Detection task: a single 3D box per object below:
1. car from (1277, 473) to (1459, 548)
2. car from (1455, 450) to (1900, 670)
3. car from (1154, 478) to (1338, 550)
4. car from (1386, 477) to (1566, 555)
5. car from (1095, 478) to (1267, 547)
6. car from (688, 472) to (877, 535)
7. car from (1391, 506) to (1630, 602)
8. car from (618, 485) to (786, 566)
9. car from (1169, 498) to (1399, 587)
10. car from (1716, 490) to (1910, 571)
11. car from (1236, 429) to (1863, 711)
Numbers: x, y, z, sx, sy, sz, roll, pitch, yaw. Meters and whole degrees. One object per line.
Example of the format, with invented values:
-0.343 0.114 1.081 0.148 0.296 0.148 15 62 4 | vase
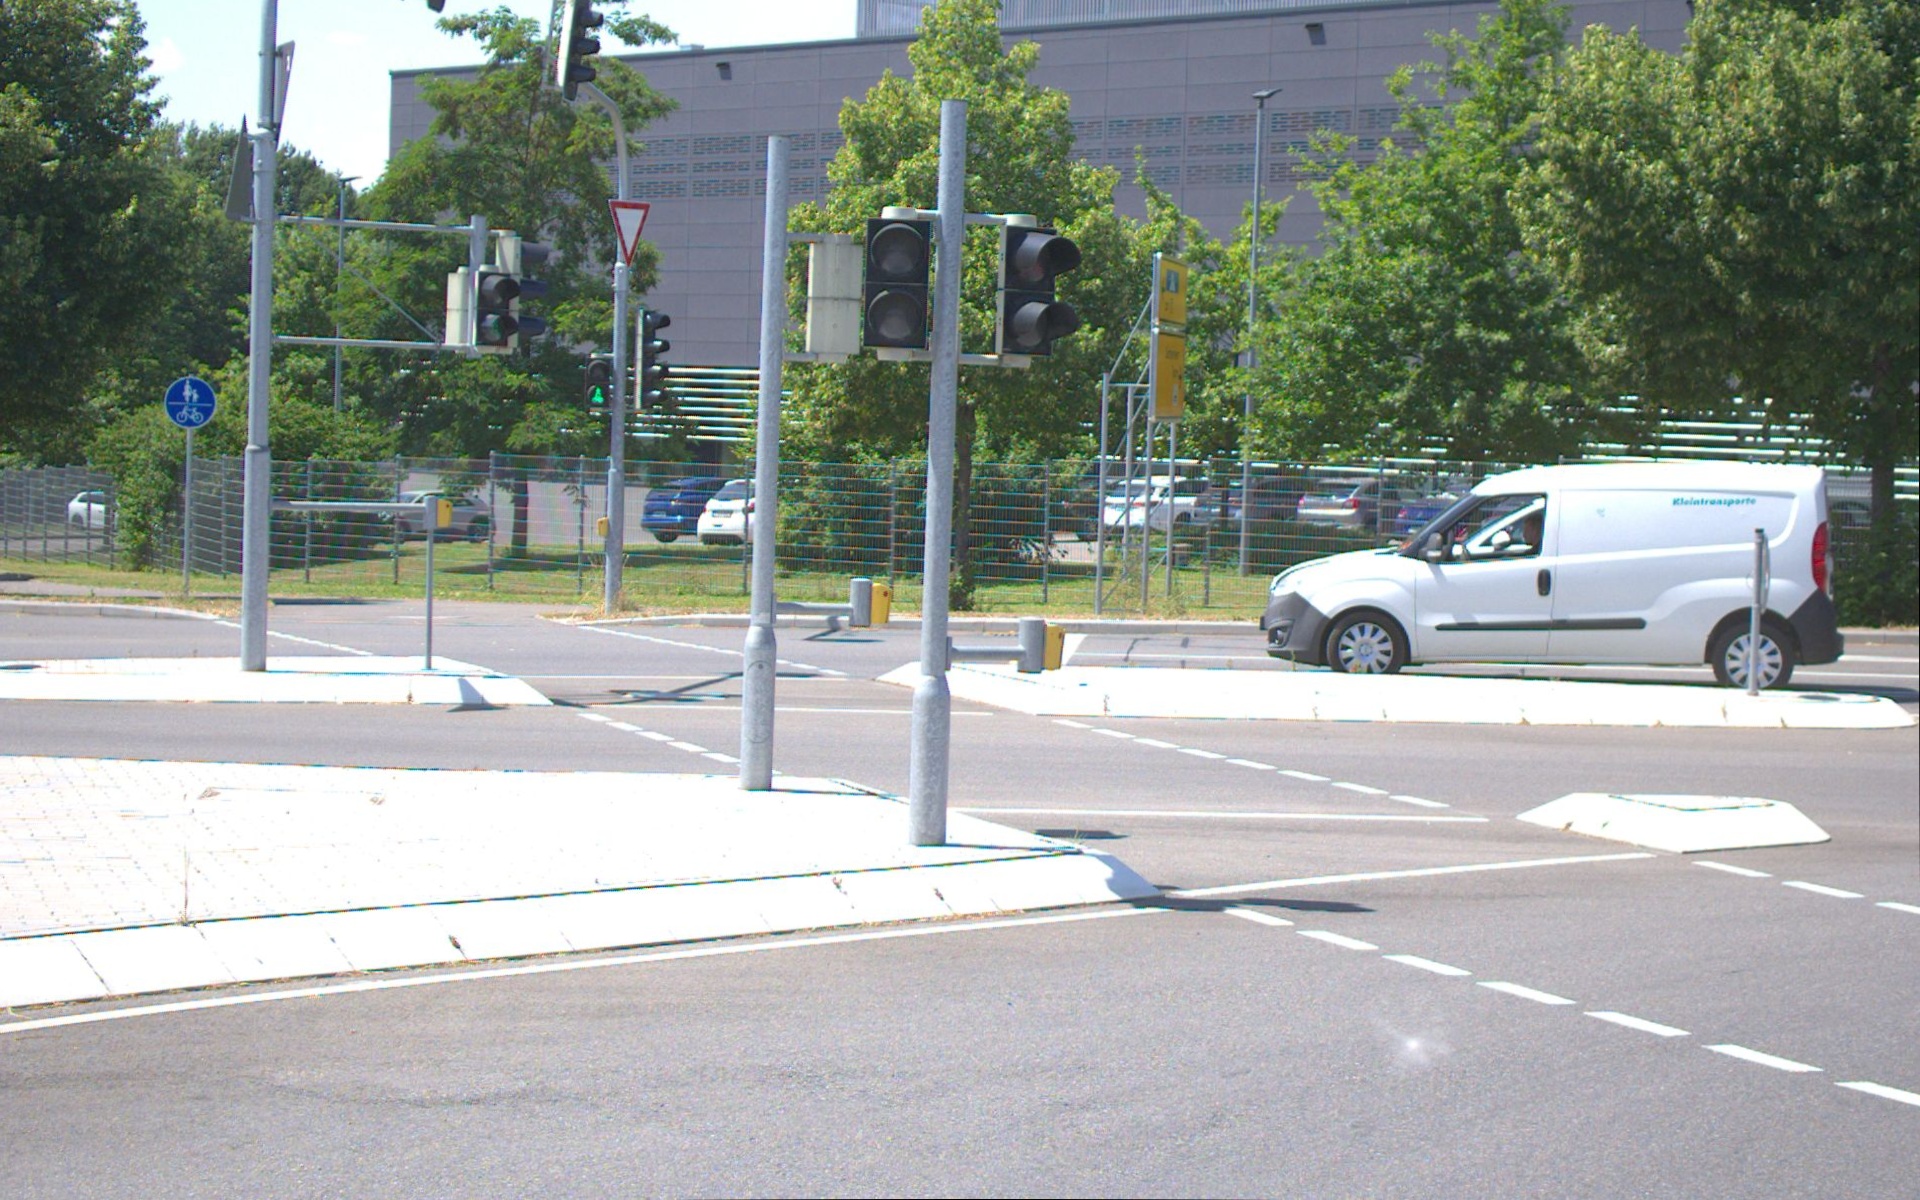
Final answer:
8.629 -1.859 72.541 1.918 1.512 3.990 1 1 40 | car
6.640 -0.410 31.981 3.854 1.700 2.000 3 6 11 | car
6.195 -1.829 74.096 1.998 1.481 3.990 1 1 40 | car
10.601 -1.700 70.444 1.818 1.523 3.990 1 1 40 | car
4.919 -1.921 76.174 1.770 1.455 3.990 1 1 40 | car
-3.424 -1.854 66.735 1.614 1.161 3.626 1 1 40 | car
8.867 -0.736 55.186 1.998 1.481 3.990 1 1 40 | car
-6.496 -1.862 86.904 1.998 2.007 3.990 1 1 40 | car
5.611 -0.979 59.227 1.998 1.481 3.990 1 1 40 | car
16.184 -1.304 65.138 1.998 1.481 3.990 1 1 40 | car
4.856 -0.302 28.448 4.857 1.935 2.000 3 6 11 | car
